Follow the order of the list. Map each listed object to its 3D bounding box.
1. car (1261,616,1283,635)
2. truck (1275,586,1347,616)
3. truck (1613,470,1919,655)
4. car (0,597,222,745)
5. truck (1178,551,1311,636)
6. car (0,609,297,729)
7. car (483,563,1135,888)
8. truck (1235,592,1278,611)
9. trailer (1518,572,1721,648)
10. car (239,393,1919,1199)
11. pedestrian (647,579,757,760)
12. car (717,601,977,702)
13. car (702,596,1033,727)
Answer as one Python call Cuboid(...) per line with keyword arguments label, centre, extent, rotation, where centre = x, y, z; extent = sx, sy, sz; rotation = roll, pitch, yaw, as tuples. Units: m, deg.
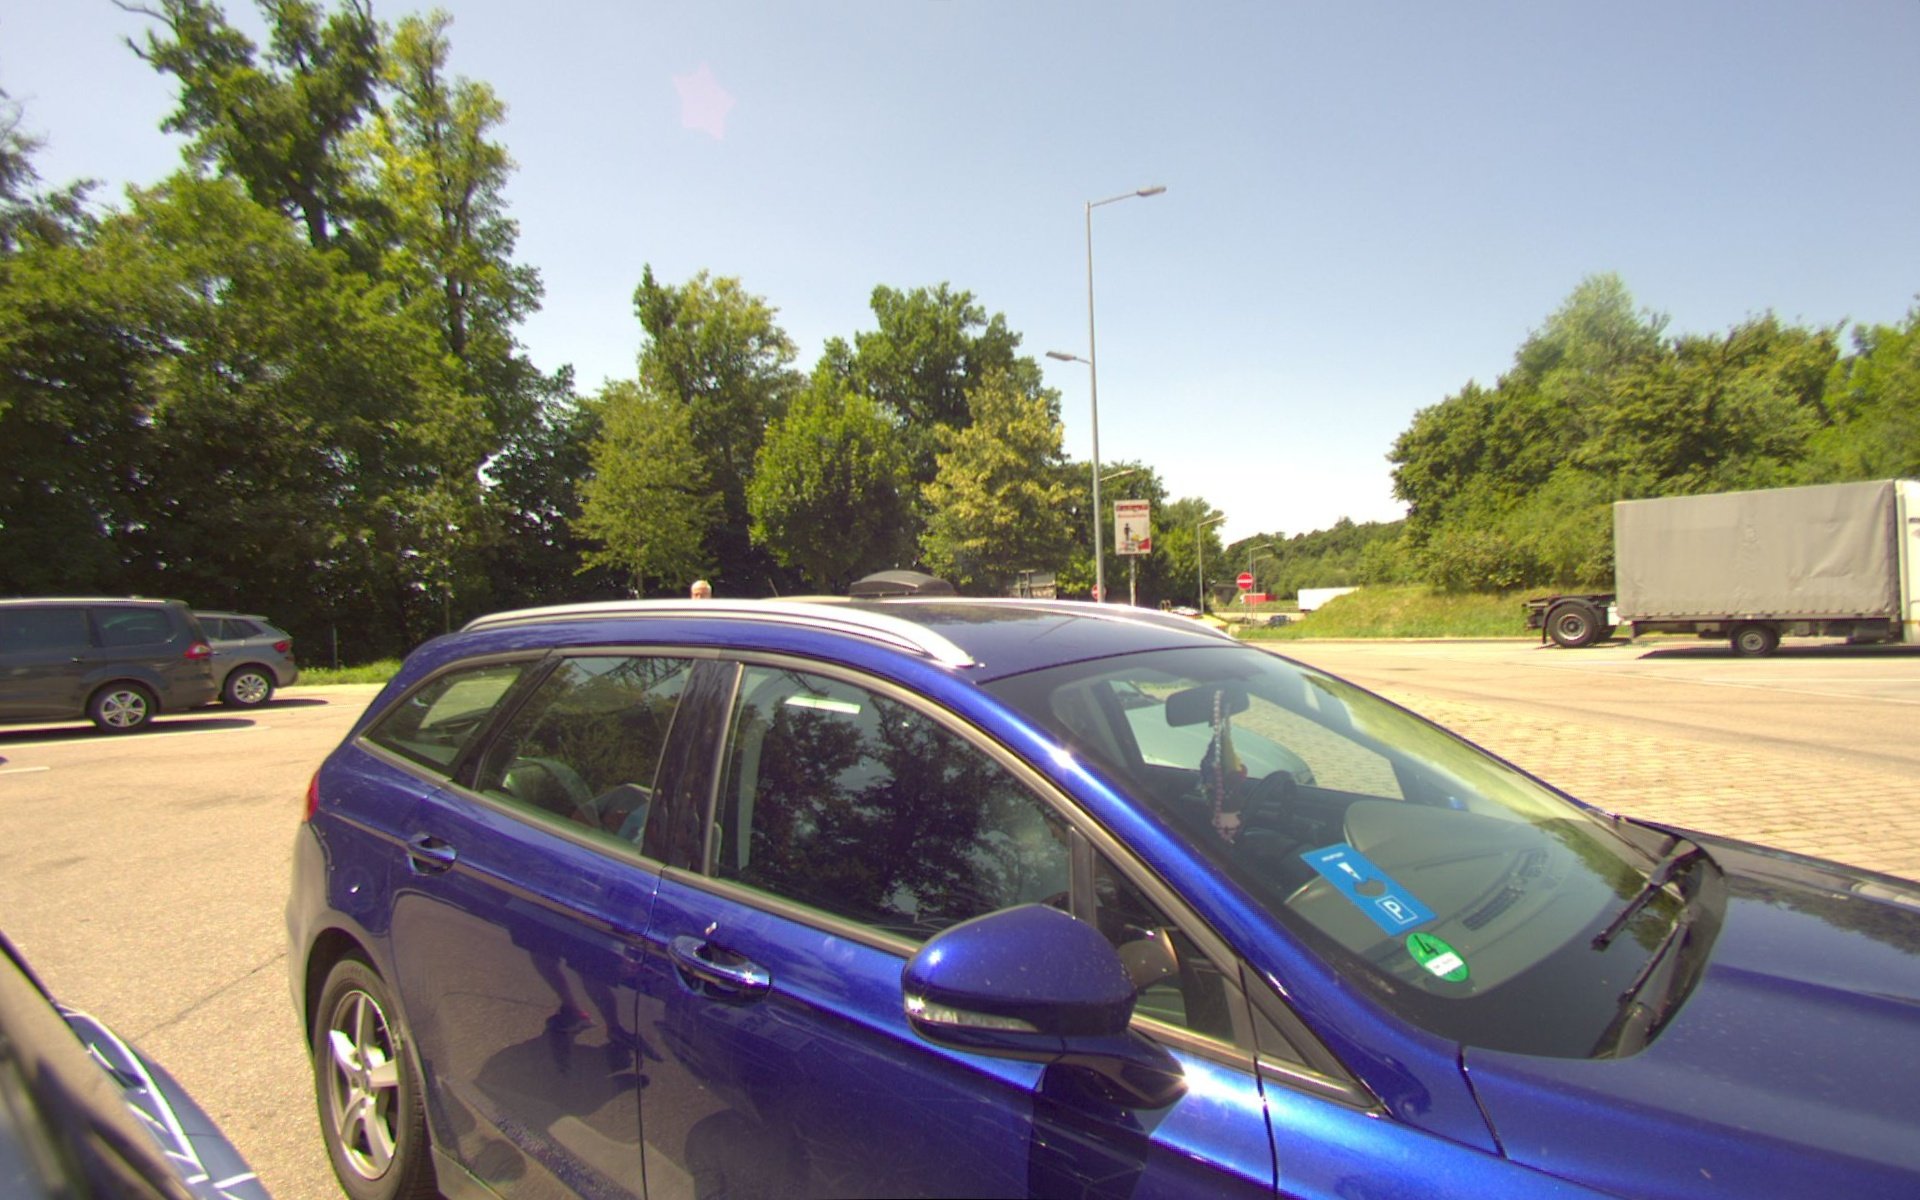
Cuboid(label="car", centre=(26.556, 2.128, 86.016), extent=(1.700, 1.547, 3.830), rotation=(-2, -1, 18))
Cuboid(label="truck", centre=(49.204, 0.247, 142.725), extent=(2.851, 3.859, 15.627), rotation=(-2, -1, -7))
Cuboid(label="truck", centre=(16.750, -0.640, 18.853), extent=(7.347, 3.152, 2.339), rotation=(-3, -2, 41))
Cuboid(label="car", centre=(-11.683, 0.855, 12.556), extent=(3.910, 1.701, 1.782), rotation=(-1, -1, -43))
Cuboid(label="truck", centre=(13.328, -0.243, 47.422), extent=(5.782, 3.720, 1.987), rotation=(-2, -1, 20))
Cuboid(label="car", centre=(-12.712, 0.980, 15.607), extent=(3.910, 1.598, 1.782), rotation=(-1, -1, -43))
Cuboid(label="car", centre=(-1.253, 0.638, 6.718), extent=(4.466, 1.476, 1.756), rotation=(-3, -1, 40))
Cuboid(label="truck", centre=(67.909, 0.431, 232.692), extent=(3.216, 3.859, 15.630), rotation=(-1, -1, -8))
Cuboid(label="trailer", centre=(15.777, 0.277, 24.324), extent=(3.900, 1.674, 1.456), rotation=(-2, -1, 41))
Cuboid(label="car", centre=(0.241, 0.636, 2.102), extent=(4.466, 1.476, 1.756), rotation=(-3, -1, 40))
Cuboid(label="pedestrian", centre=(-2.427, 0.625, 9.515), extent=(0.759, 1.614, 0.663), rotation=(-3, -1, 41))
Cuboid(label="car", centre=(-2.013, 0.834, 17.086), extent=(4.466, 1.476, 1.756), rotation=(-3, -1, 40))
Cuboid(label="car", centre=(-1.361, 0.762, 13.533), extent=(4.466, 1.476, 1.756), rotation=(-3, -1, 40))
